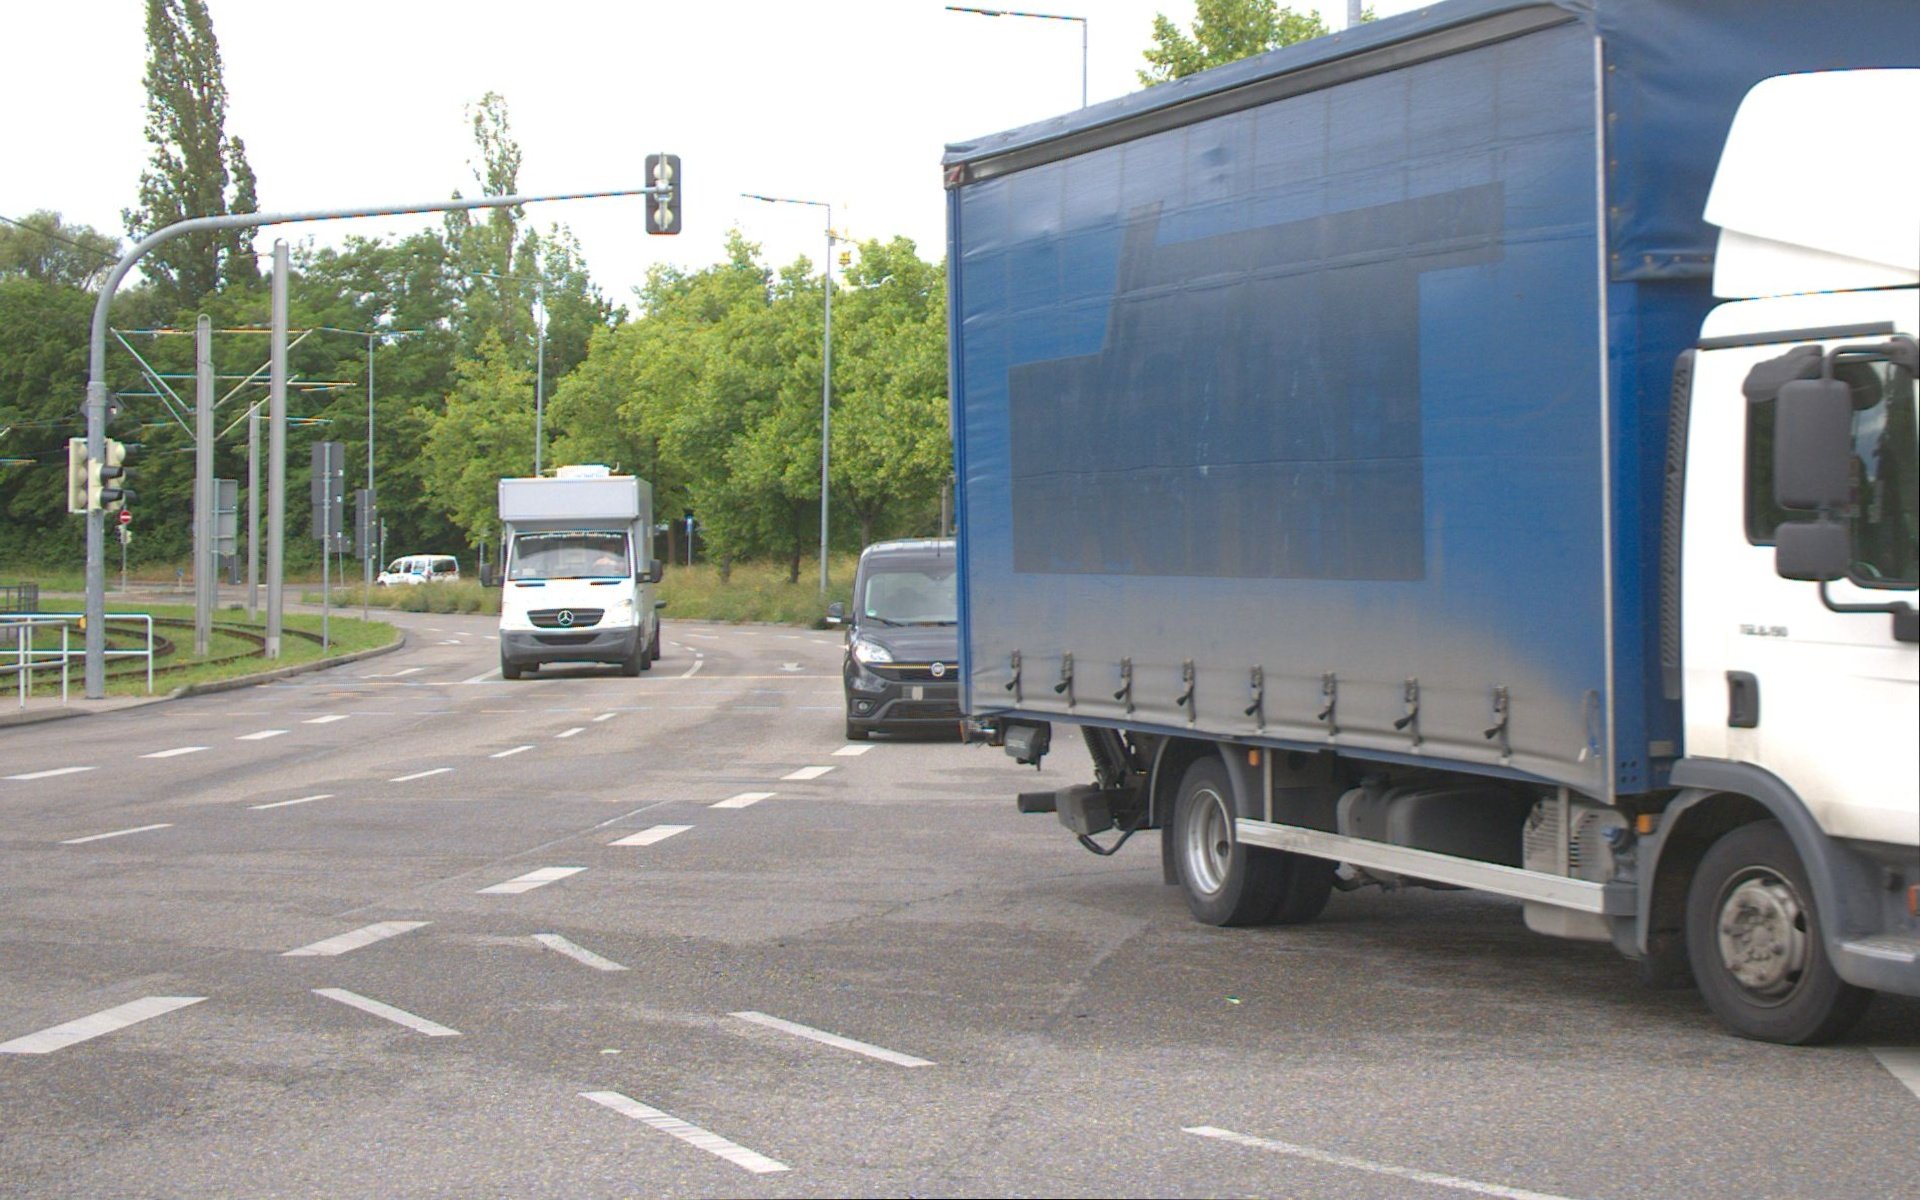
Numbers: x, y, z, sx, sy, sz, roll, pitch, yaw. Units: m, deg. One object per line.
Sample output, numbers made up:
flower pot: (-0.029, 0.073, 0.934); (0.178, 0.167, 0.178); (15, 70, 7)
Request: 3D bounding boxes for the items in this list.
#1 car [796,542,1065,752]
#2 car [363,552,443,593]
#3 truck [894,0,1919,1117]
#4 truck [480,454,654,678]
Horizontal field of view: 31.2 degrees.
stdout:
car: (-0.375, 0.405, 33.332); (1.993, 1.870, 4.892); (0, 0, -8)
car: (-24.241, -1.199, 149.425); (1.994, 1.722, 3.727); (-1, 1, -35)
truck: (2.440, -0.448, 14.315); (2.778, 3.791, 8.391); (0, 1, -20)
truck: (-5.764, -0.492, 51.100); (2.104, 3.000, 6.274); (-4, 0, -4)
